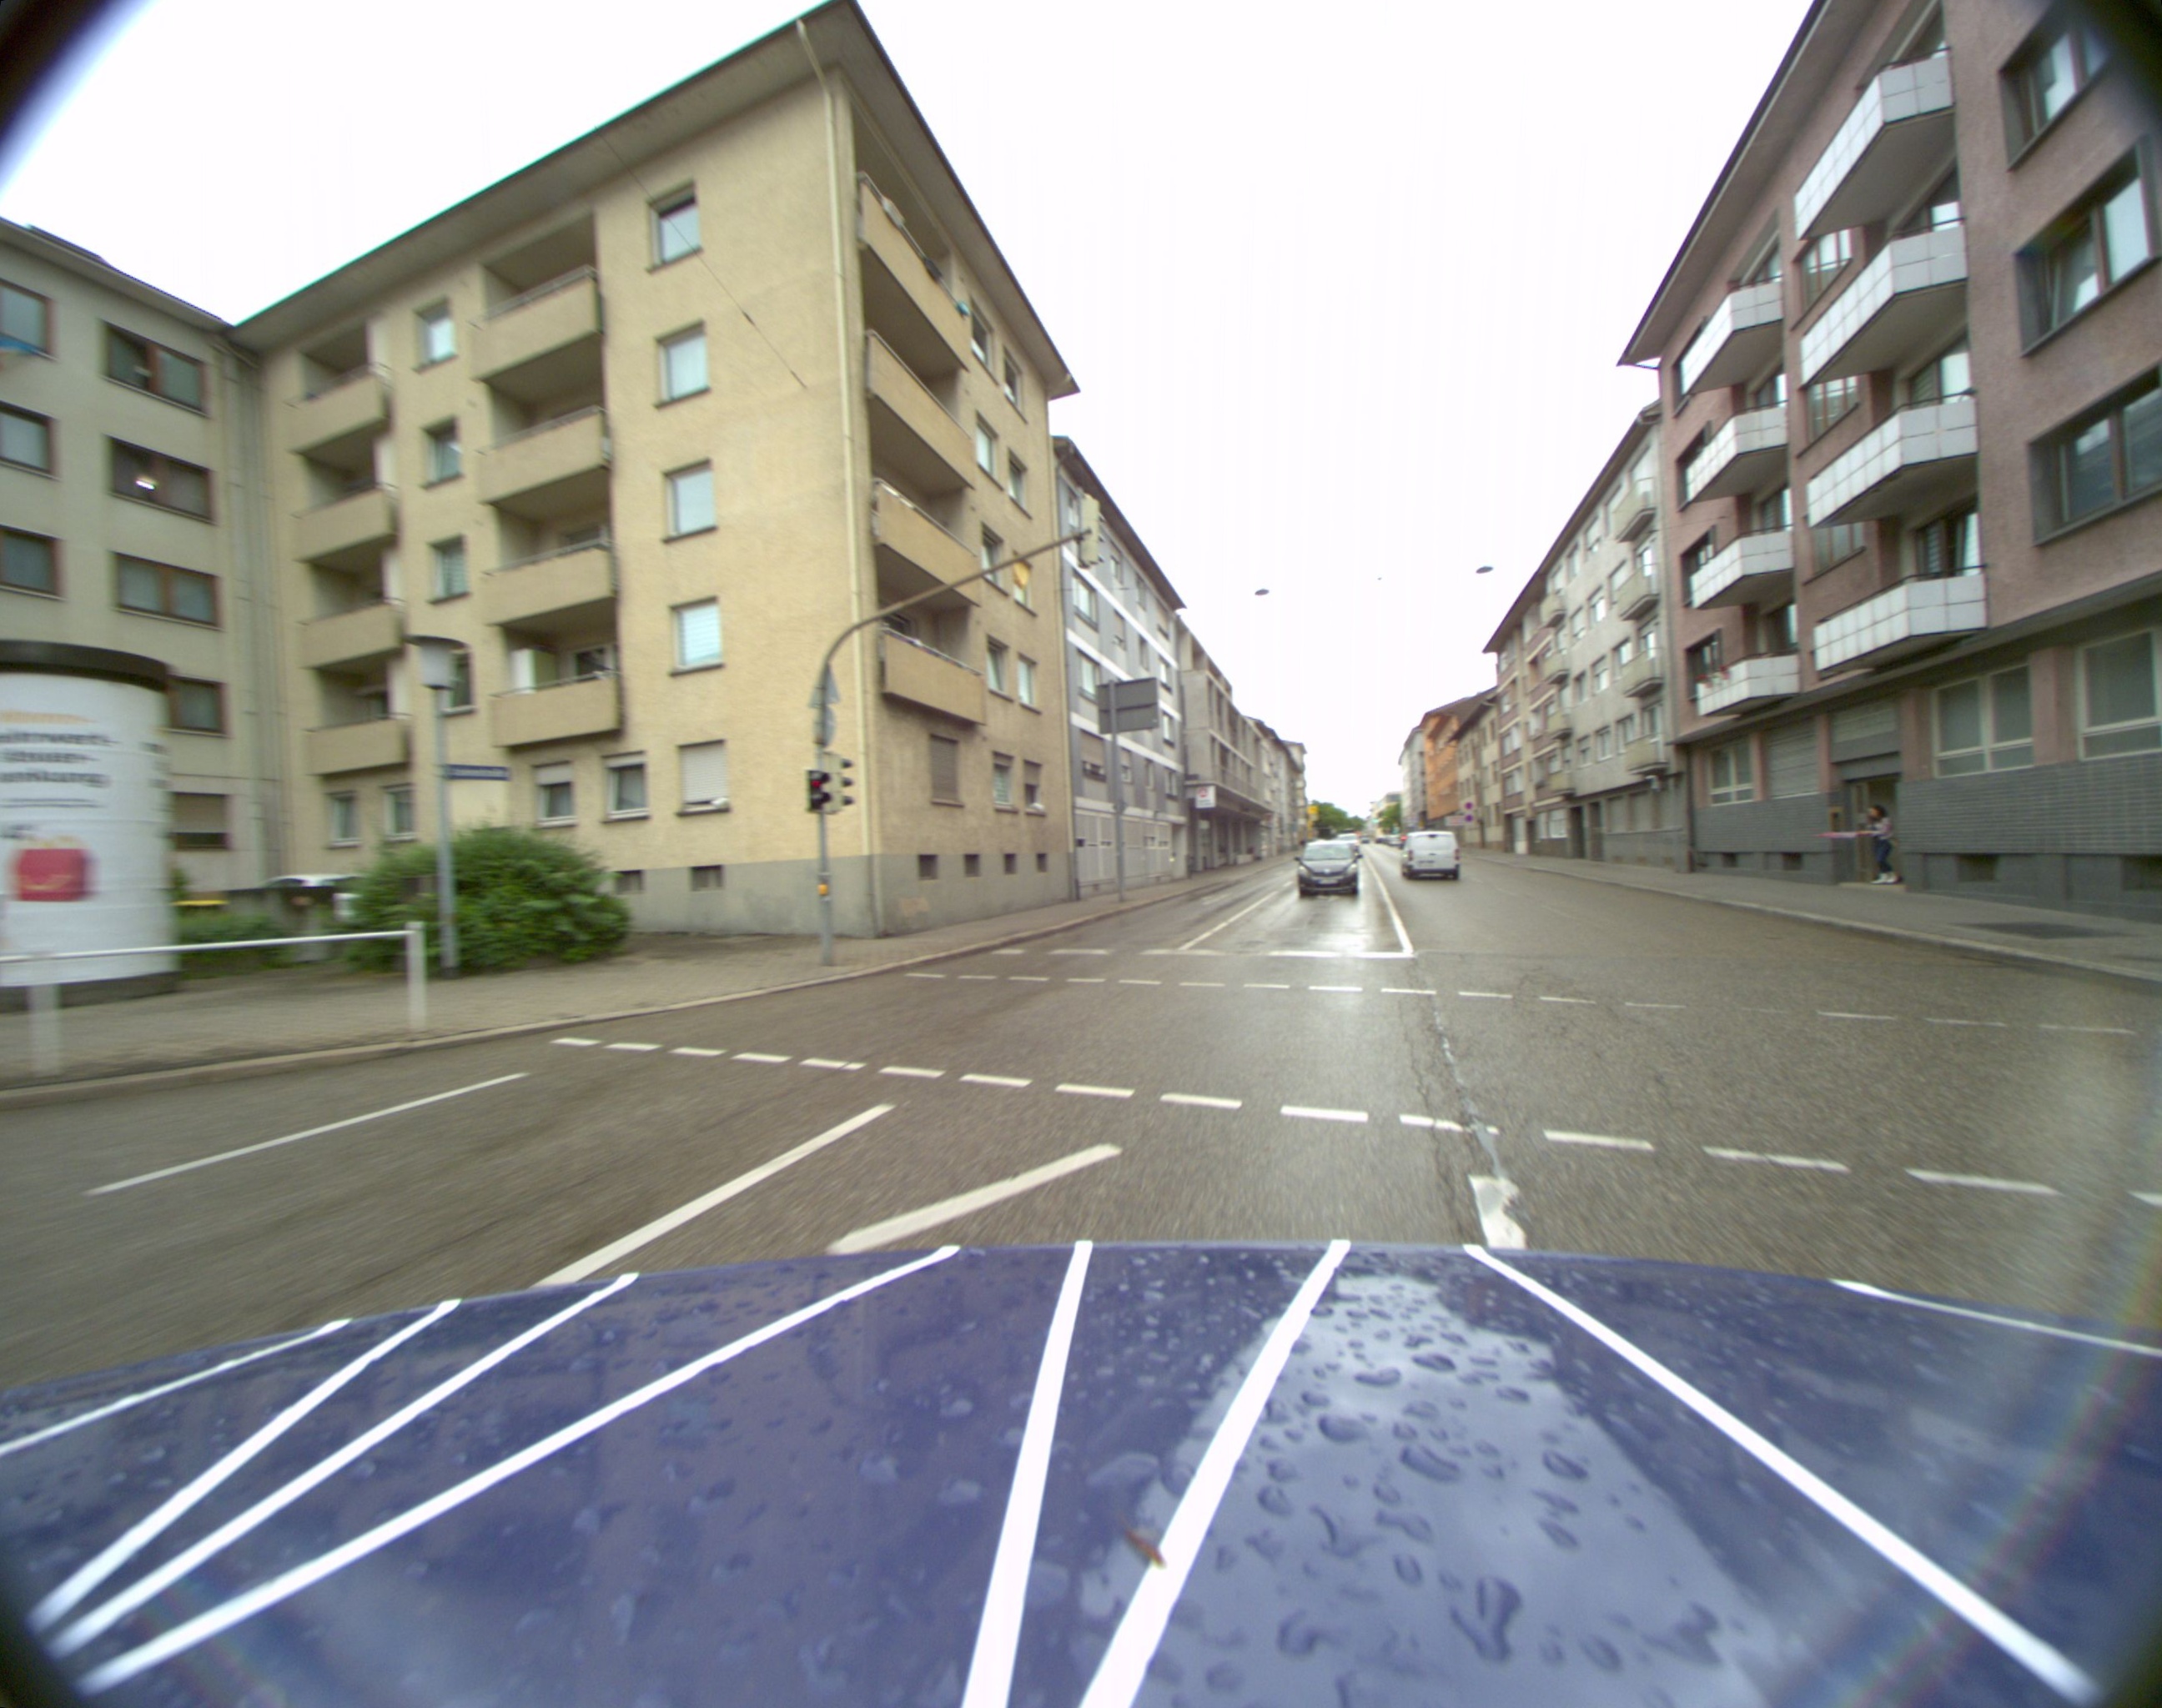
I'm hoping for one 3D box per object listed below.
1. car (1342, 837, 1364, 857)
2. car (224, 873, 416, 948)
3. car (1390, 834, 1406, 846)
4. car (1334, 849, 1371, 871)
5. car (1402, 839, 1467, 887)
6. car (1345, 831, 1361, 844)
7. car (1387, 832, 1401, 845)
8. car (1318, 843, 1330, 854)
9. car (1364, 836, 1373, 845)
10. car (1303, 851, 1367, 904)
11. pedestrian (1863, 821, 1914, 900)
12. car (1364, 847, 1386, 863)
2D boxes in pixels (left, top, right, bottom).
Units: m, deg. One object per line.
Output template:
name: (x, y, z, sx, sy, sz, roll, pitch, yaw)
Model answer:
car: (25.466, -0.644, 71.021, 1.719, 1.652, 3.683, -3, 1, 22)
car: (-17.384, 1.225, 17.394, 3.318, 1.466, 1.768, 0, 2, 19)
car: (41.891, -1.885, 100.465, 1.729, 1.453, 4.077, 1, 2, 19)
car: (15.924, 0.302, 44.694, 1.690, 1.142, 4.003, 0, 2, 15)
car: (13.596, 0.270, 29.474, 1.808, 1.705, 4.552, 1, 2, 19)
car: (37.934, -2.259, 105.965, 1.849, 1.652, 3.683, -3, 1, 22)
car: (46.339, -2.310, 112.581, 1.719, 1.652, 3.683, -3, 1, 22)
car: (43.017, -0.944, 134.266, 1.719, 1.652, 3.683, -3, 1, 22)
car: (60.336, -2.880, 159.487, 1.719, 1.652, 3.683, -3, 1, 22)
car: (8.044, 0.690, 23.992, 1.729, 1.472, 4.078, -2, 0, 19)
pedestrian: (16.609, 0.115, 15.632, 0.450, 1.551, 0.529, -7, 5, -5)
car: (23.280, 0.042, 60.115, 1.544, 1.062, 3.099, -3, 1, 22)
